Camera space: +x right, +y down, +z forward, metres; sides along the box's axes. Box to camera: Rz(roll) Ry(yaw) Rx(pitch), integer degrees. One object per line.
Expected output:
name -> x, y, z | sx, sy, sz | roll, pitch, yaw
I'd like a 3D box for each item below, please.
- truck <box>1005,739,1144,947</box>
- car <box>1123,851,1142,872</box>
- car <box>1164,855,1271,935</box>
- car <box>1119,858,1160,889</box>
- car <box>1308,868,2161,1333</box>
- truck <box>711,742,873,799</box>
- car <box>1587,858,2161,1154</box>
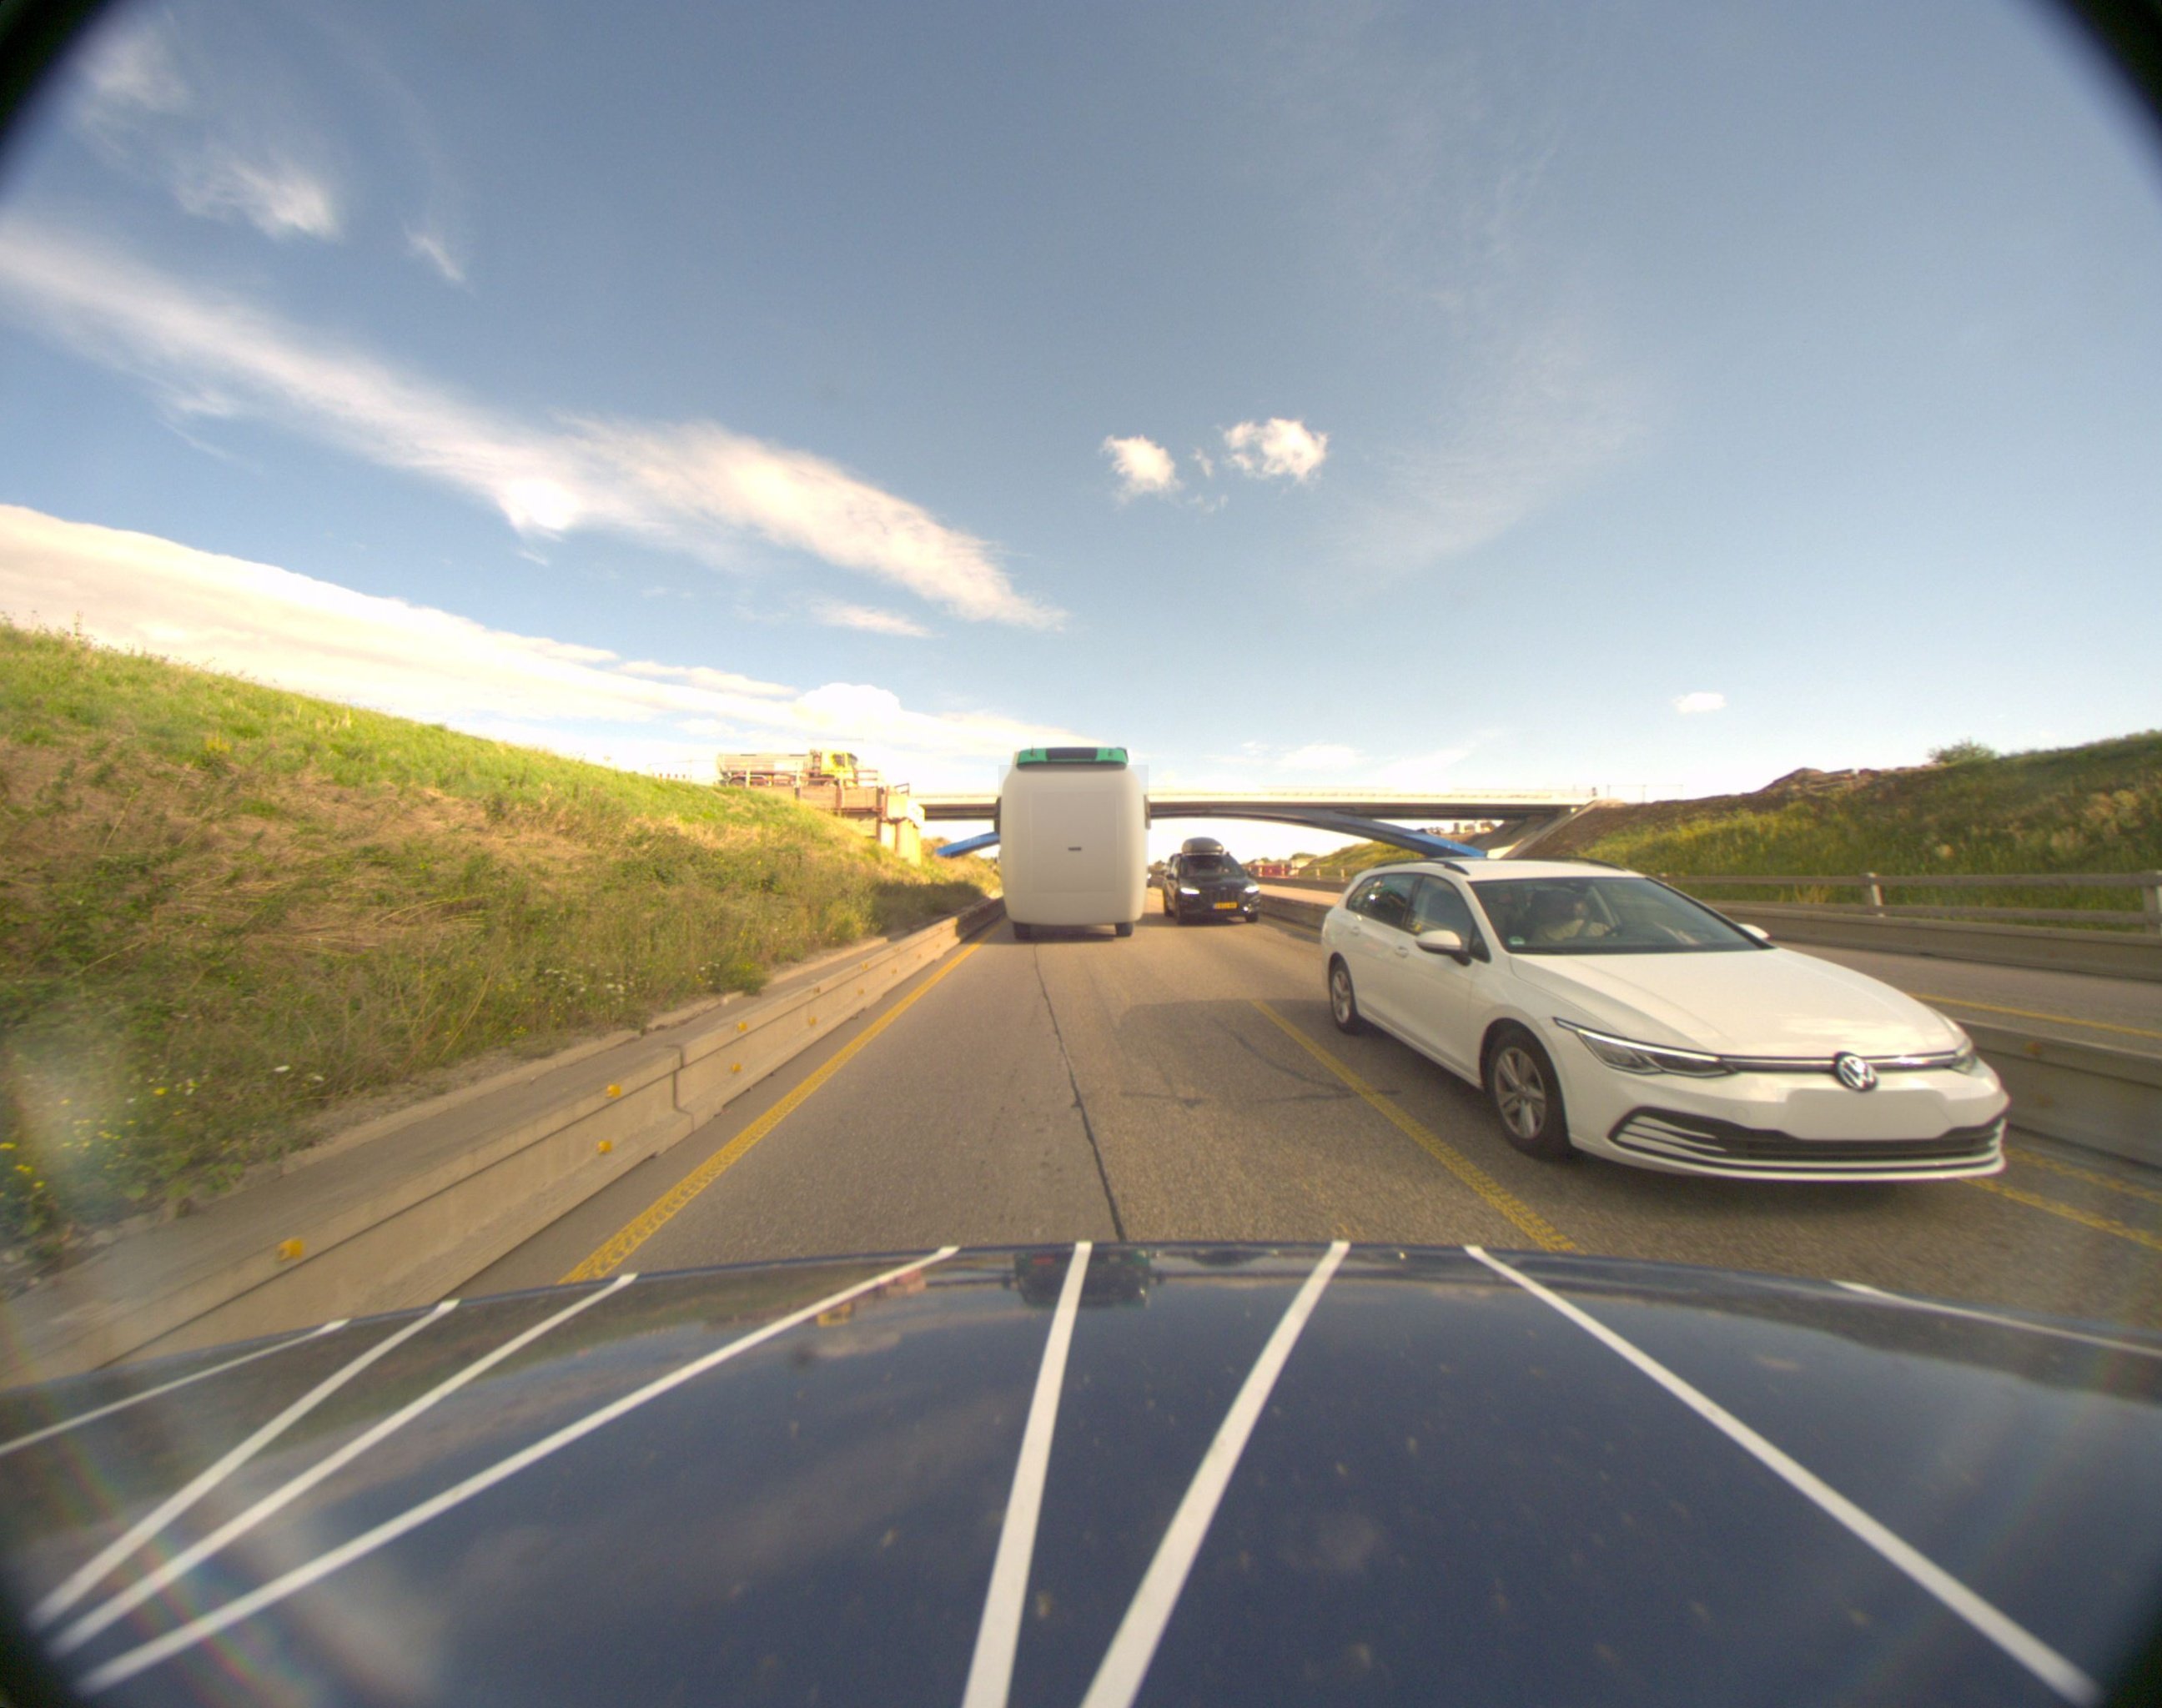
truck -> -0.126, -0.189, 18.603 | 2.546, 3.899, 8.279 | -1, 0, 0
car -> 7.298, 1.007, 108.510 | 2.115, 2.819, 6.137 | 1, 0, -2
car -> 3.171, 0.881, 18.448 | 1.855, 1.667, 4.260 | -1, 0, 1
car -> 3.137, 1.017, 41.236 | 1.855, 1.488, 4.301 | -1, 0, 0
car -> 3.001, 0.904, 4.834 | 1.825, 1.487, 4.374 | -2, 0, 1
truck -> -18.546, -5.357, 49.229 | 9.289, 3.209, 2.959 | -1, 0, -3
car -> 6.585, 0.907, 6.467 | 1.825, 1.594, 4.000 | -4, 0, 1
